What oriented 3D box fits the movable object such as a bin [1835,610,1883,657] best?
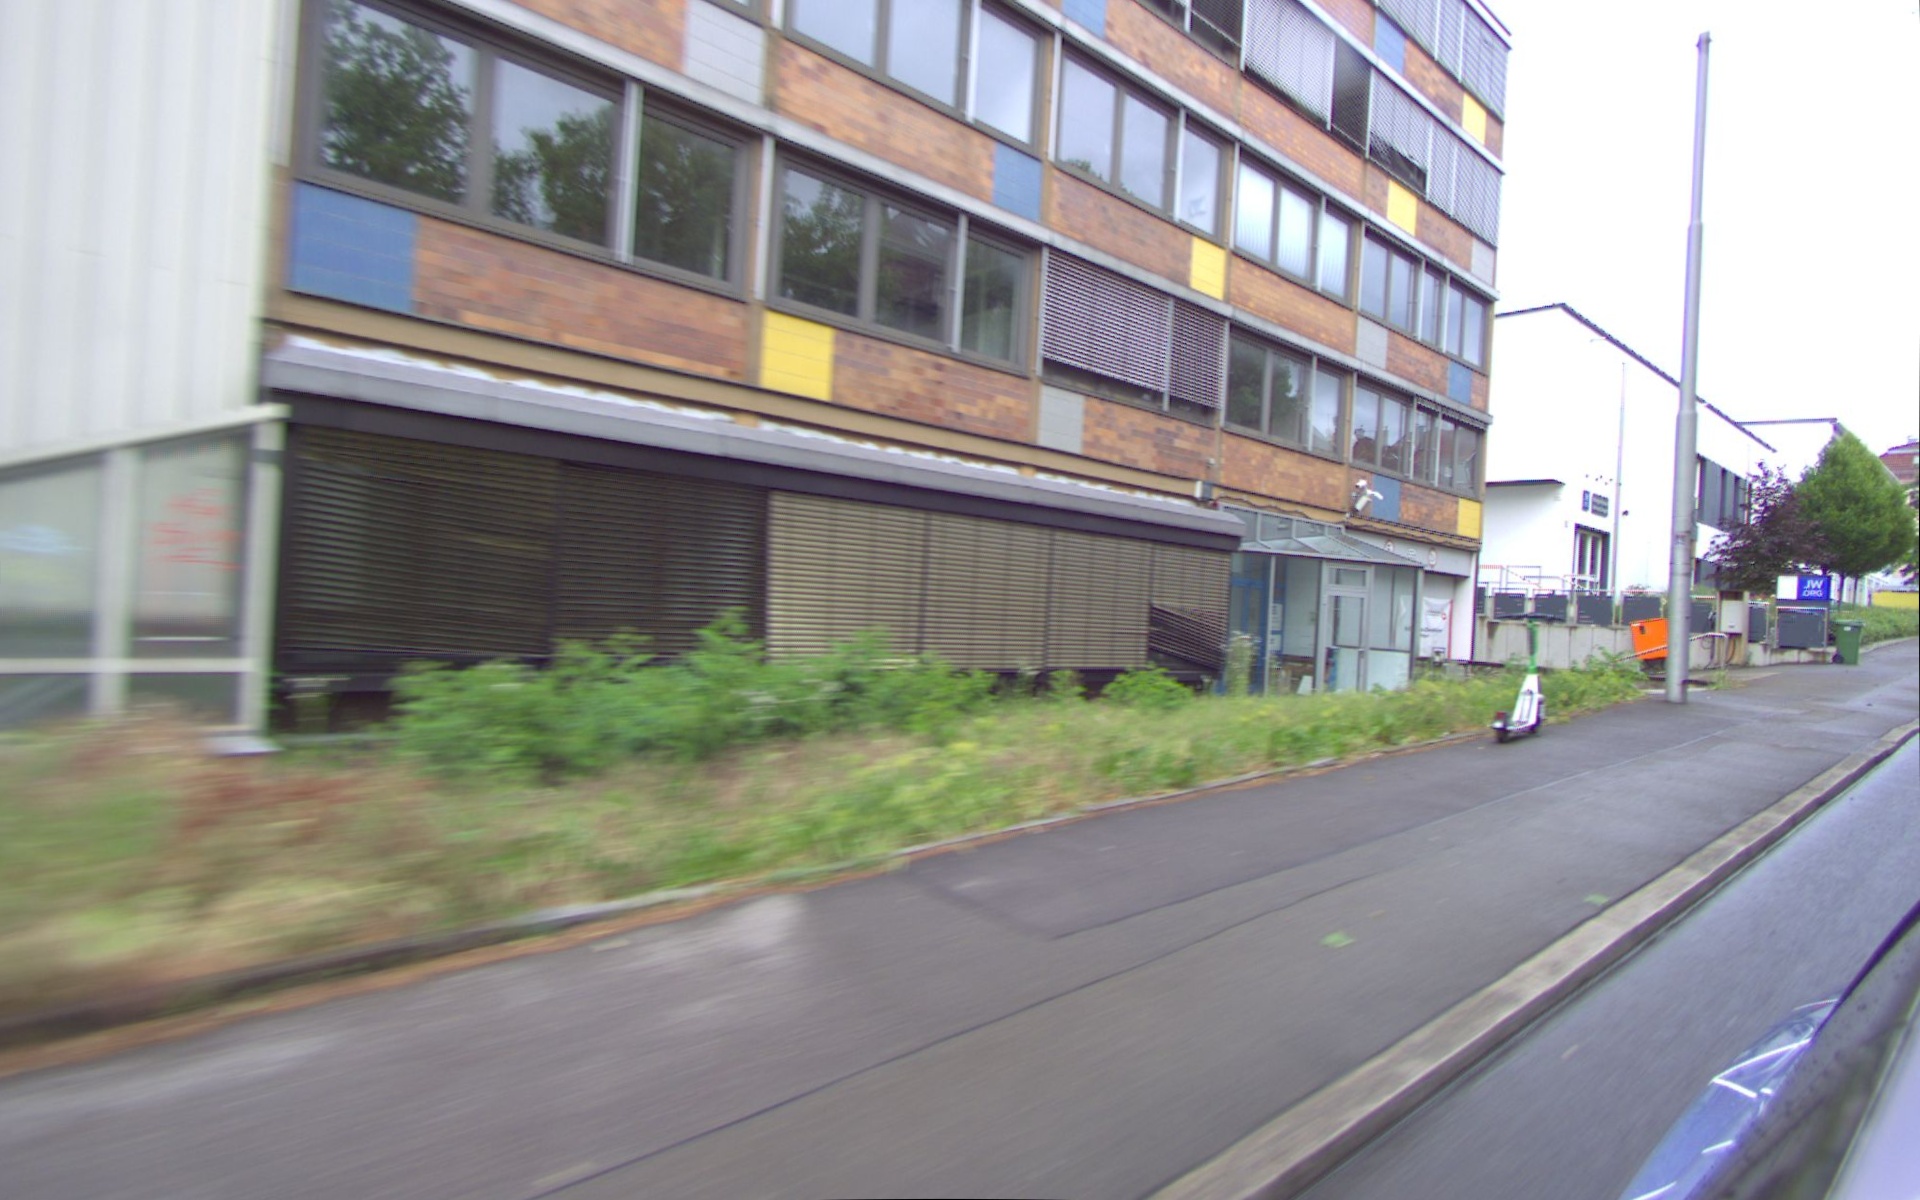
[{"bbox_3d":[19.198,0.707,21.612,0.673,0.947,0.621,1,4,-39],"label":"movable object such as a bin"}]

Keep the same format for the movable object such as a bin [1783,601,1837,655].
[{"bbox_3d":[18.582,0.606,22.118,0.764,1.095,0.697,1,4,-39],"label":"movable object such as a bin"}]

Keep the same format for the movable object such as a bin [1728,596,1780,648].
[{"bbox_3d":[17.924,0.497,22.839,0.764,1.095,0.697,1,4,-39],"label":"movable object such as a bin"}]

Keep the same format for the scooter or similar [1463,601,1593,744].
[{"bbox_3d":[5.295,0.616,9.391,0.605,1.176,1.672,3,2,45],"label":"scooter or similar"}]
